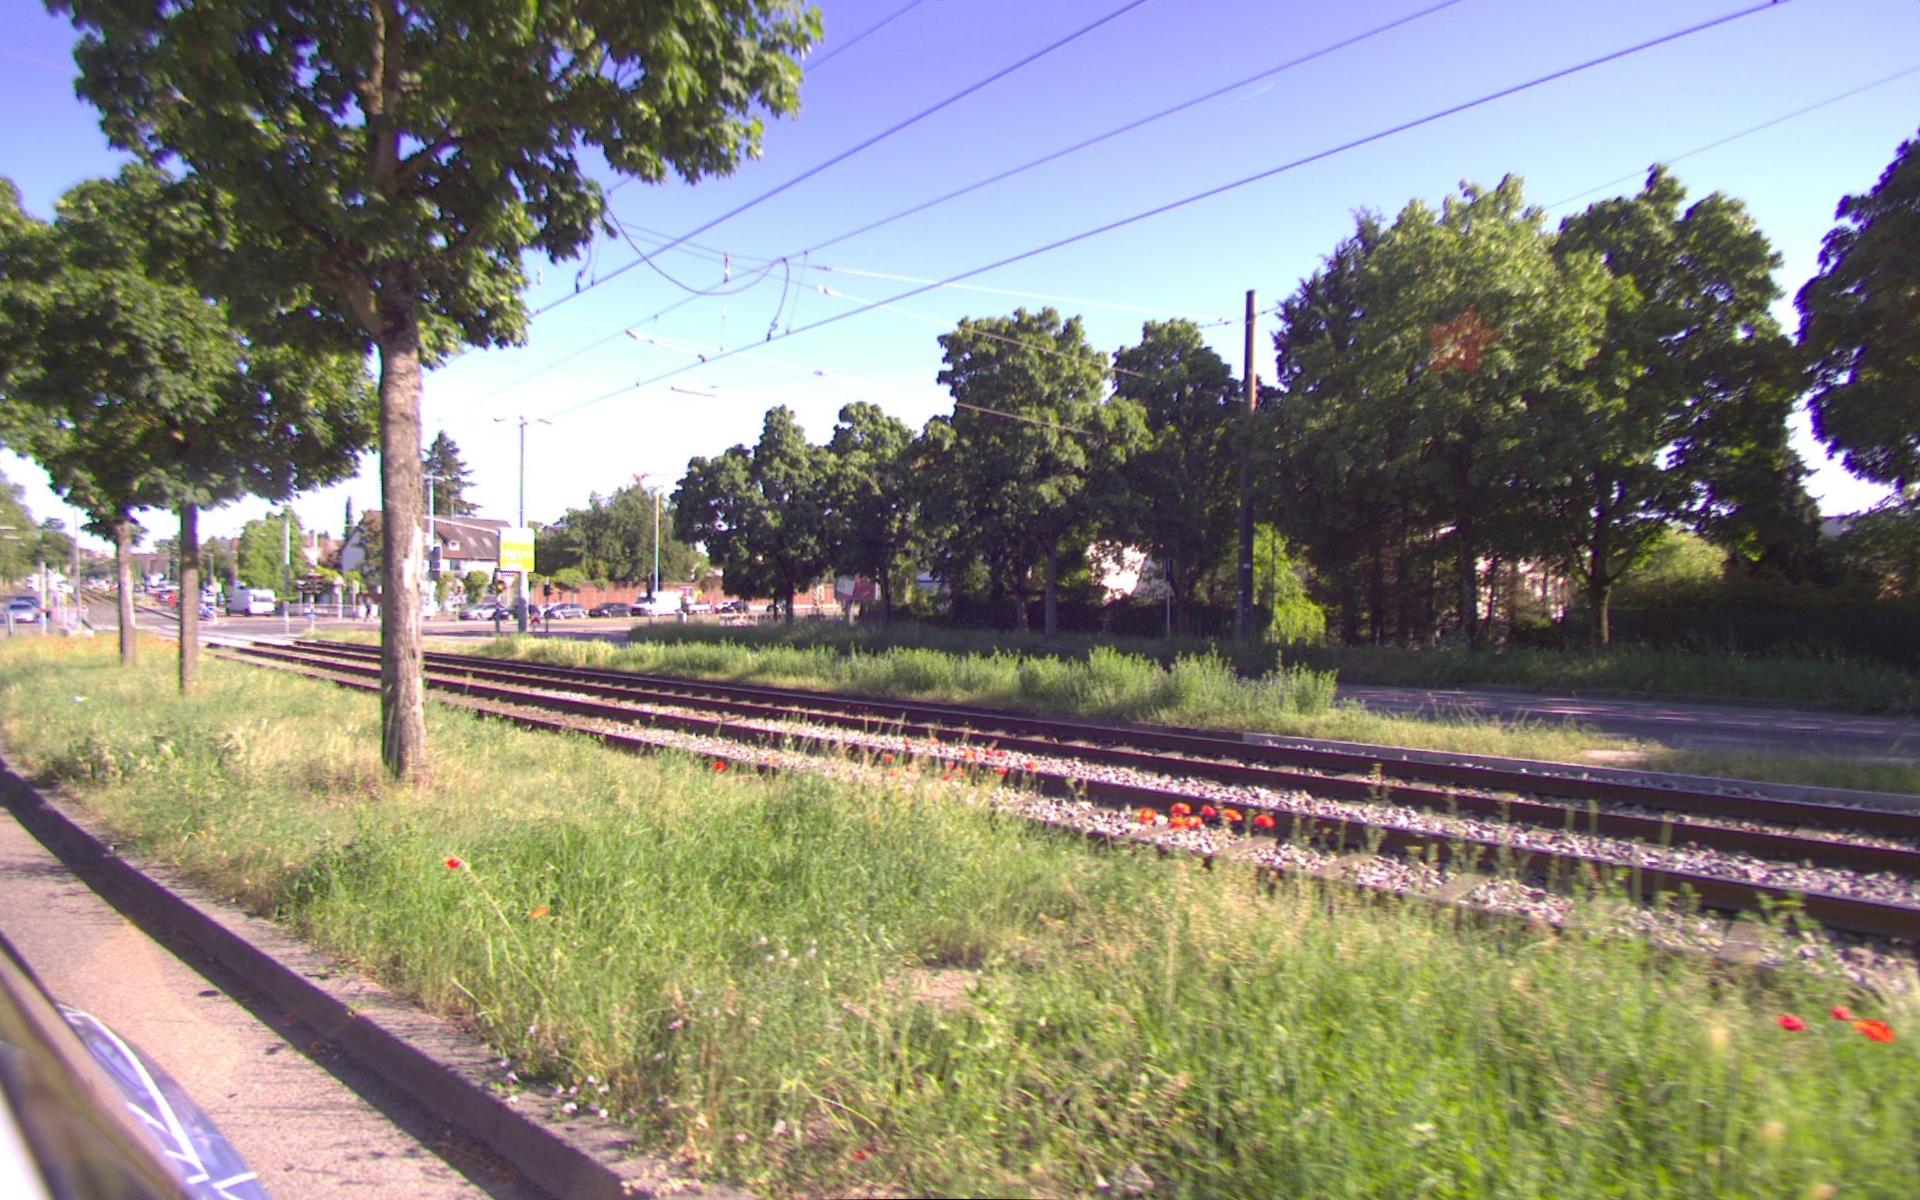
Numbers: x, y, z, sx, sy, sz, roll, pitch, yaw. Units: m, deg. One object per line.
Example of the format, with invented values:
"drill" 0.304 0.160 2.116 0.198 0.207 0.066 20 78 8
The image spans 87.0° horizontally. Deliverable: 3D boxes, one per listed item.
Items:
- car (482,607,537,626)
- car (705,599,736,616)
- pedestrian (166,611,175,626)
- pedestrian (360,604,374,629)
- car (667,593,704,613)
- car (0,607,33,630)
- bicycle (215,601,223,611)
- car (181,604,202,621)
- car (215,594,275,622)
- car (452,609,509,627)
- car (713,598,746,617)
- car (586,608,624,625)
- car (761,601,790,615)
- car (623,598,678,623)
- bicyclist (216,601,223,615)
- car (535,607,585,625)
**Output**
"car" -38.227 1.370 85.988 1.924 1.477 4.220 0 0 20
"car" -28.275 0.896 119.595 1.794 2.029 3.975 0 0 19
"pedestrian" -77.000 1.835 98.655 0.614 1.425 0.712 0 -1 -44
"pedestrian" -47.158 1.292 80.454 0.766 1.963 0.610 0 0 4
"car" -29.282 0.305 108.029 1.794 2.029 3.974 0 0 20
"car" -68.002 1.309 72.848 1.854 1.539 4.425 1 0 -43
"bicycle" -82.316 0.651 112.480 0.501 1.050 1.951 1 0 -42
"car" -83.331 1.357 109.770 1.768 1.700 4.011 1 0 -36
"car" -66.068 0.740 93.469 6.854 2.476 2.321 0 0 35
"car" -41.136 1.523 87.002 1.660 1.488 4.605 1 0 20
"car" -26.351 0.854 115.731 1.794 2.029 3.975 0 0 19
"car" -33.638 1.537 96.045 1.487 1.579 3.501 0 0 22
"car" -22.526 0.960 123.423 1.794 1.755 3.975 0 0 19
"car" -31.222 1.008 102.333 2.166 2.429 5.878 0 0 22
"bicyclist" -82.269 0.876 112.432 0.483 1.620 0.649 1 0 -42
"car" -35.957 1.432 91.037 1.924 1.477 4.230 -1 0 20
